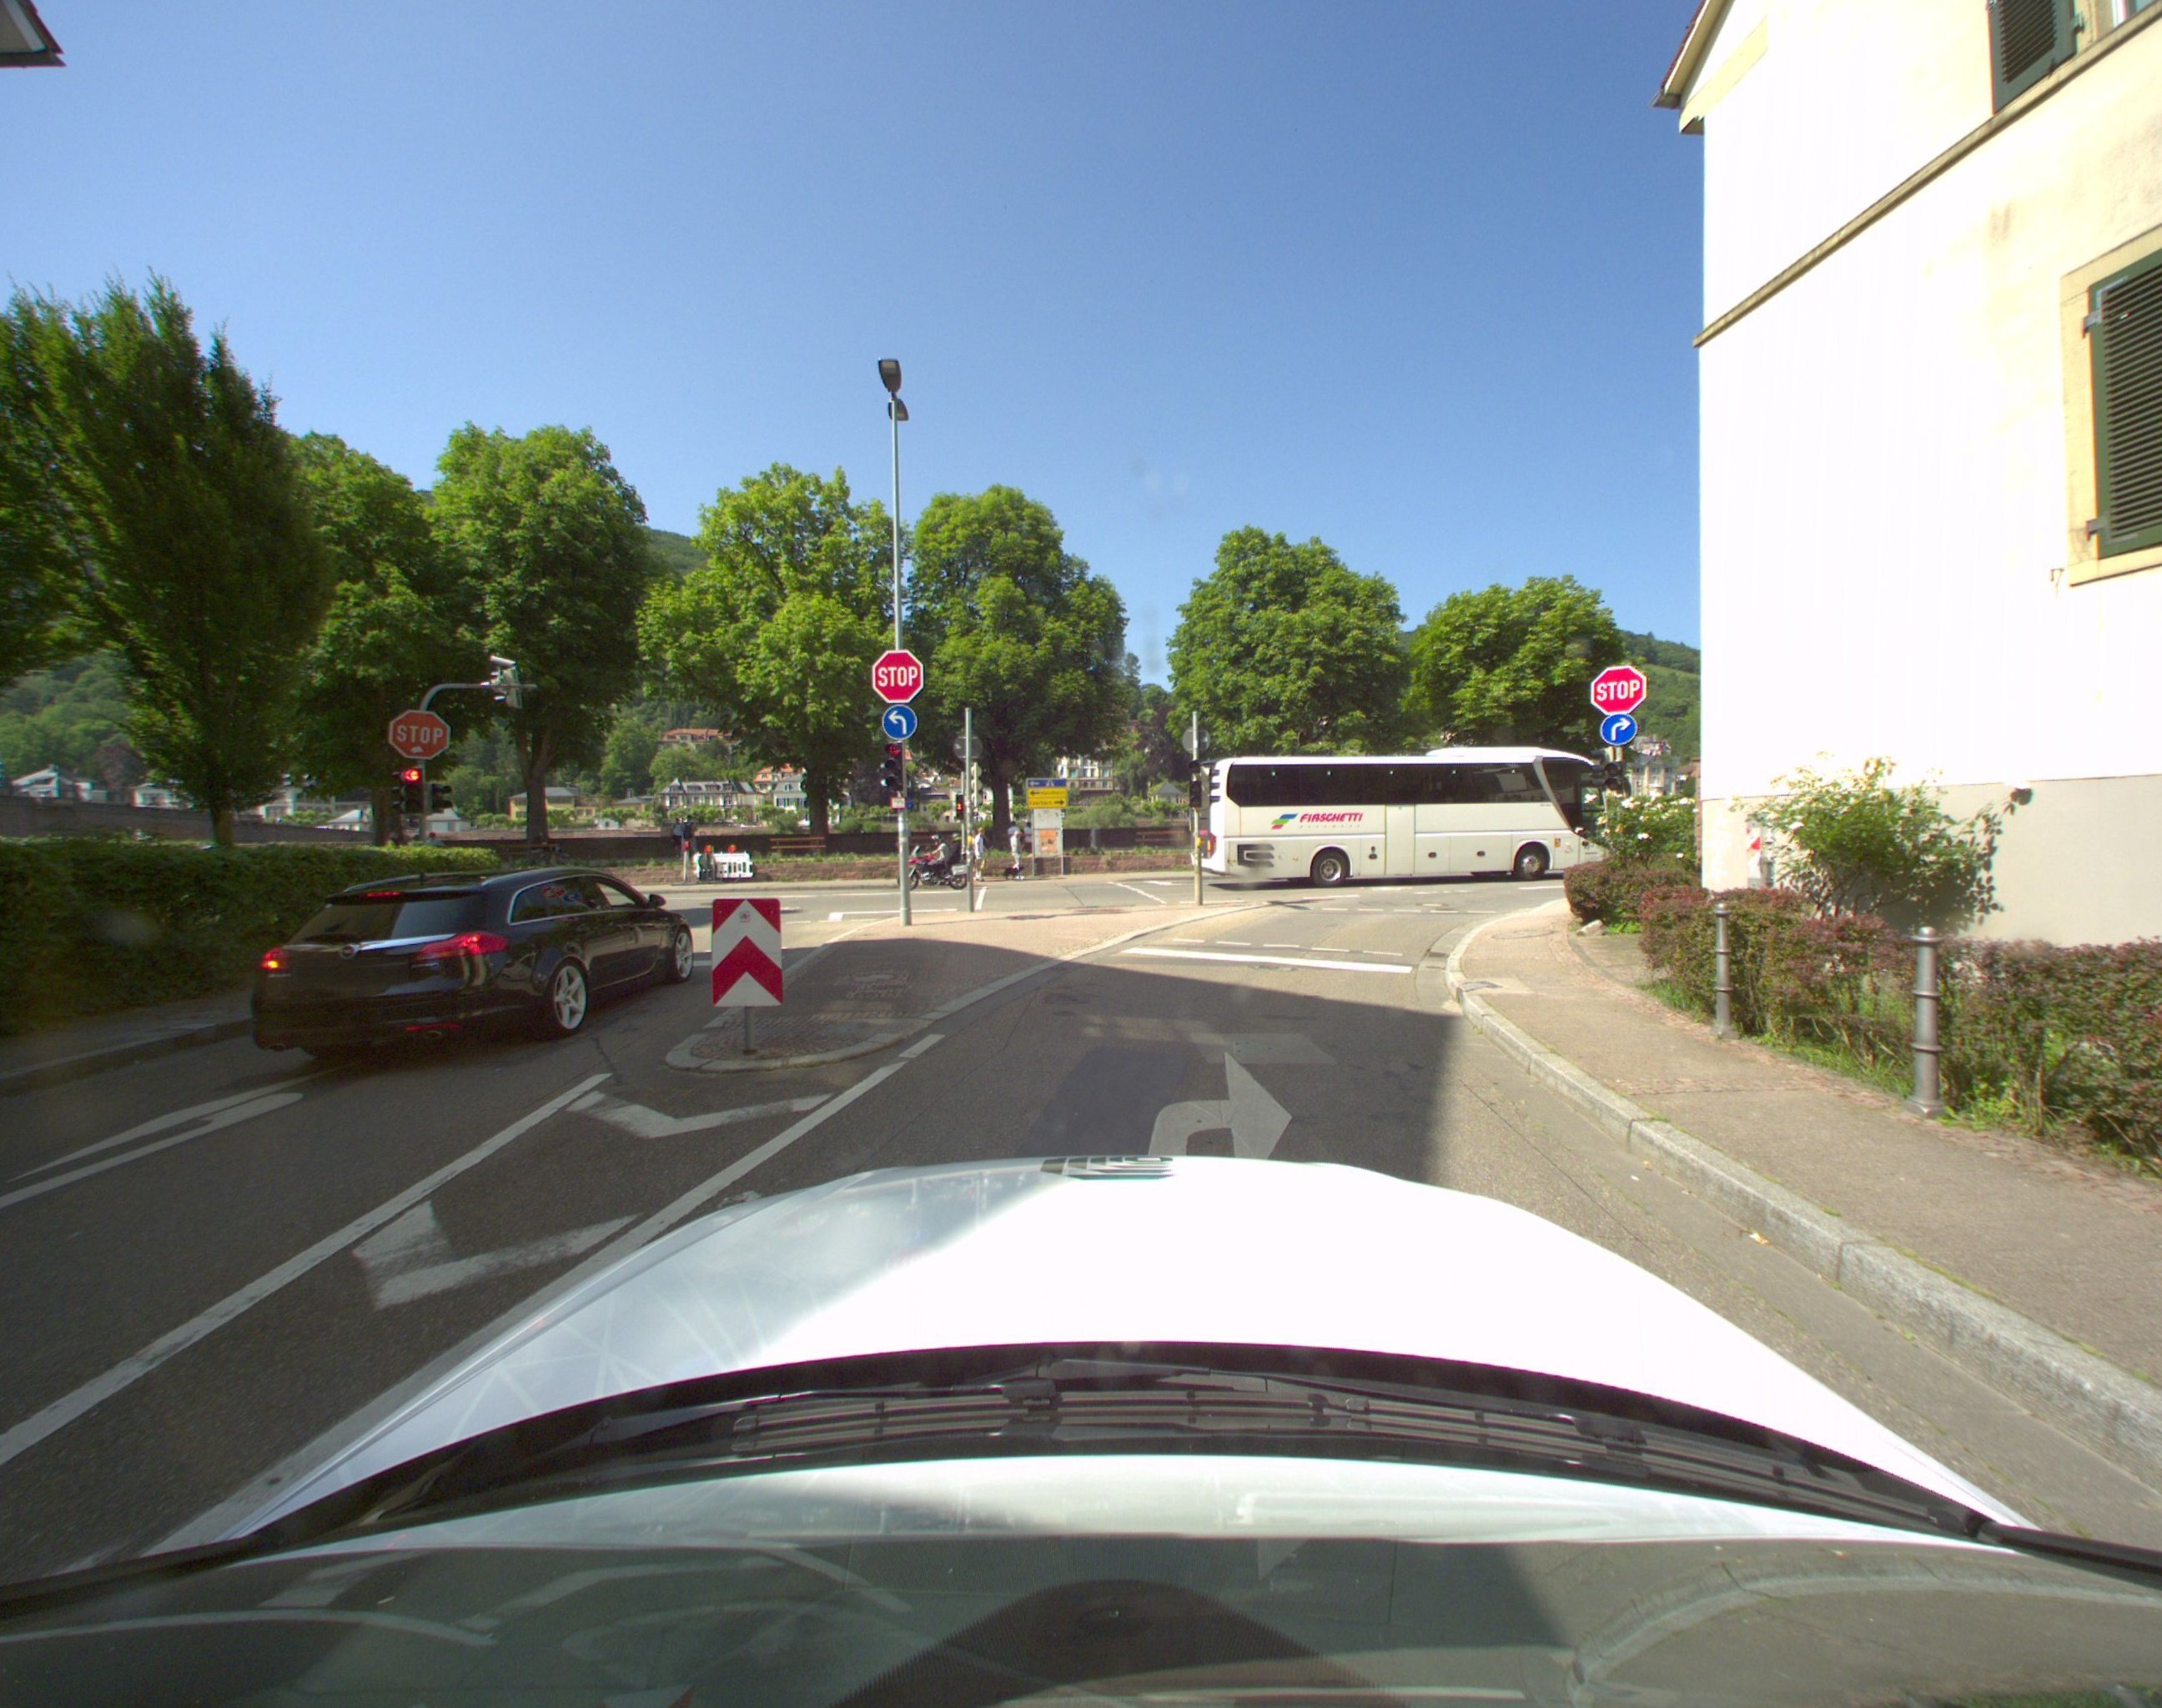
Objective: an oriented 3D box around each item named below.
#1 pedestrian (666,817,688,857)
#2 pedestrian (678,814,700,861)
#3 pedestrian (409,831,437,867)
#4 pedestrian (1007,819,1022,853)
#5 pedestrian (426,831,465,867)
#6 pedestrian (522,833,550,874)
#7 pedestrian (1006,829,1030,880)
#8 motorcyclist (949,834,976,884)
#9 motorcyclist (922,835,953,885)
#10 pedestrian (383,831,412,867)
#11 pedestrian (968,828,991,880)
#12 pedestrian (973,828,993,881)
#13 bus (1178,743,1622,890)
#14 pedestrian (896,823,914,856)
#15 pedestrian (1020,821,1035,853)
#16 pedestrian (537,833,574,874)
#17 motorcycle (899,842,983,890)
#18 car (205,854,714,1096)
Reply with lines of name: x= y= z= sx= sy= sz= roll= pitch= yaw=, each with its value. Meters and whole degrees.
pedestrian: x=-17.669 y=-0.736 z=35.620 sx=0.709 sy=1.732 sz=0.752 roll=-1 pitch=0 yaw=-18
pedestrian: x=-15.749 y=-0.648 z=32.741 sx=0.766 sy=1.857 sz=0.750 roll=-1 pitch=0 yaw=-25
pedestrian: x=-23.747 y=-0.177 z=29.412 sx=0.466 sy=1.270 sz=0.631 roll=-1 pitch=1 yaw=-3
pedestrian: x=-2.641 y=-0.706 z=32.260 sx=0.552 sy=1.279 sz=0.702 roll=1 pitch=-2 yaw=-6
pedestrian: x=-23.221 y=-0.178 z=29.769 sx=0.466 sy=1.270 sz=1.223 roll=-1 pitch=1 yaw=-3
pedestrian: x=-19.980 y=-0.031 z=29.880 sx=0.466 sy=1.493 sz=0.804 roll=-1 pitch=1 yaw=-3
pedestrian: x=-2.263 y=0.021 z=29.135 sx=0.689 sy=1.769 sz=0.714 roll=-2 pitch=0 yaw=-13
motorcyclist: x=-3.644 y=0.135 z=25.069 sx=0.771 sy=1.493 sz=0.816 roll=-1 pitch=1 yaw=-10
motorcyclist: x=-4.378 y=0.178 z=24.930 sx=0.872 sy=1.494 sz=0.816 roll=-2 pitch=1 yaw=-10
pedestrian: x=-24.627 y=-0.184 z=29.346 sx=0.466 sy=1.270 sz=0.631 roll=-1 pitch=1 yaw=-3
pedestrian: x=-3.610 y=-0.006 z=28.914 sx=0.720 sy=1.802 sz=0.633 roll=-2 pitch=0 yaw=-5
pedestrian: x=-3.380 y=0.015 z=28.166 sx=0.577 sy=1.801 sz=0.704 roll=-2 pitch=0 yaw=-4
bus: x=9.080 y=-1.104 z=23.491 sx=12.136 sy=3.788 sz=2.898 roll=-1 pitch=0 yaw=-9
pedestrian: x=-6.829 y=-0.561 z=31.605 sx=0.643 sy=1.228 sz=0.411 roll=-2 pitch=0 yaw=-19
pedestrian: x=-2.147 y=-0.671 z=32.771 sx=0.552 sy=1.228 sz=0.983 roll=1 pitch=-2 yaw=-7
pedestrian: x=-19.452 y=-0.024 z=30.176 sx=0.466 sy=1.479 sz=1.384 roll=-1 pitch=1 yaw=-3
motorcycle: x=-4.272 y=0.354 z=24.964 sx=2.463 sy=1.376 sz=0.761 roll=-1 pitch=1 yaw=-10
car: x=-5.255 y=0.811 z=7.901 sx=1.713 sy=1.462 sz=4.712 roll=-3 pitch=1 yaw=-7
